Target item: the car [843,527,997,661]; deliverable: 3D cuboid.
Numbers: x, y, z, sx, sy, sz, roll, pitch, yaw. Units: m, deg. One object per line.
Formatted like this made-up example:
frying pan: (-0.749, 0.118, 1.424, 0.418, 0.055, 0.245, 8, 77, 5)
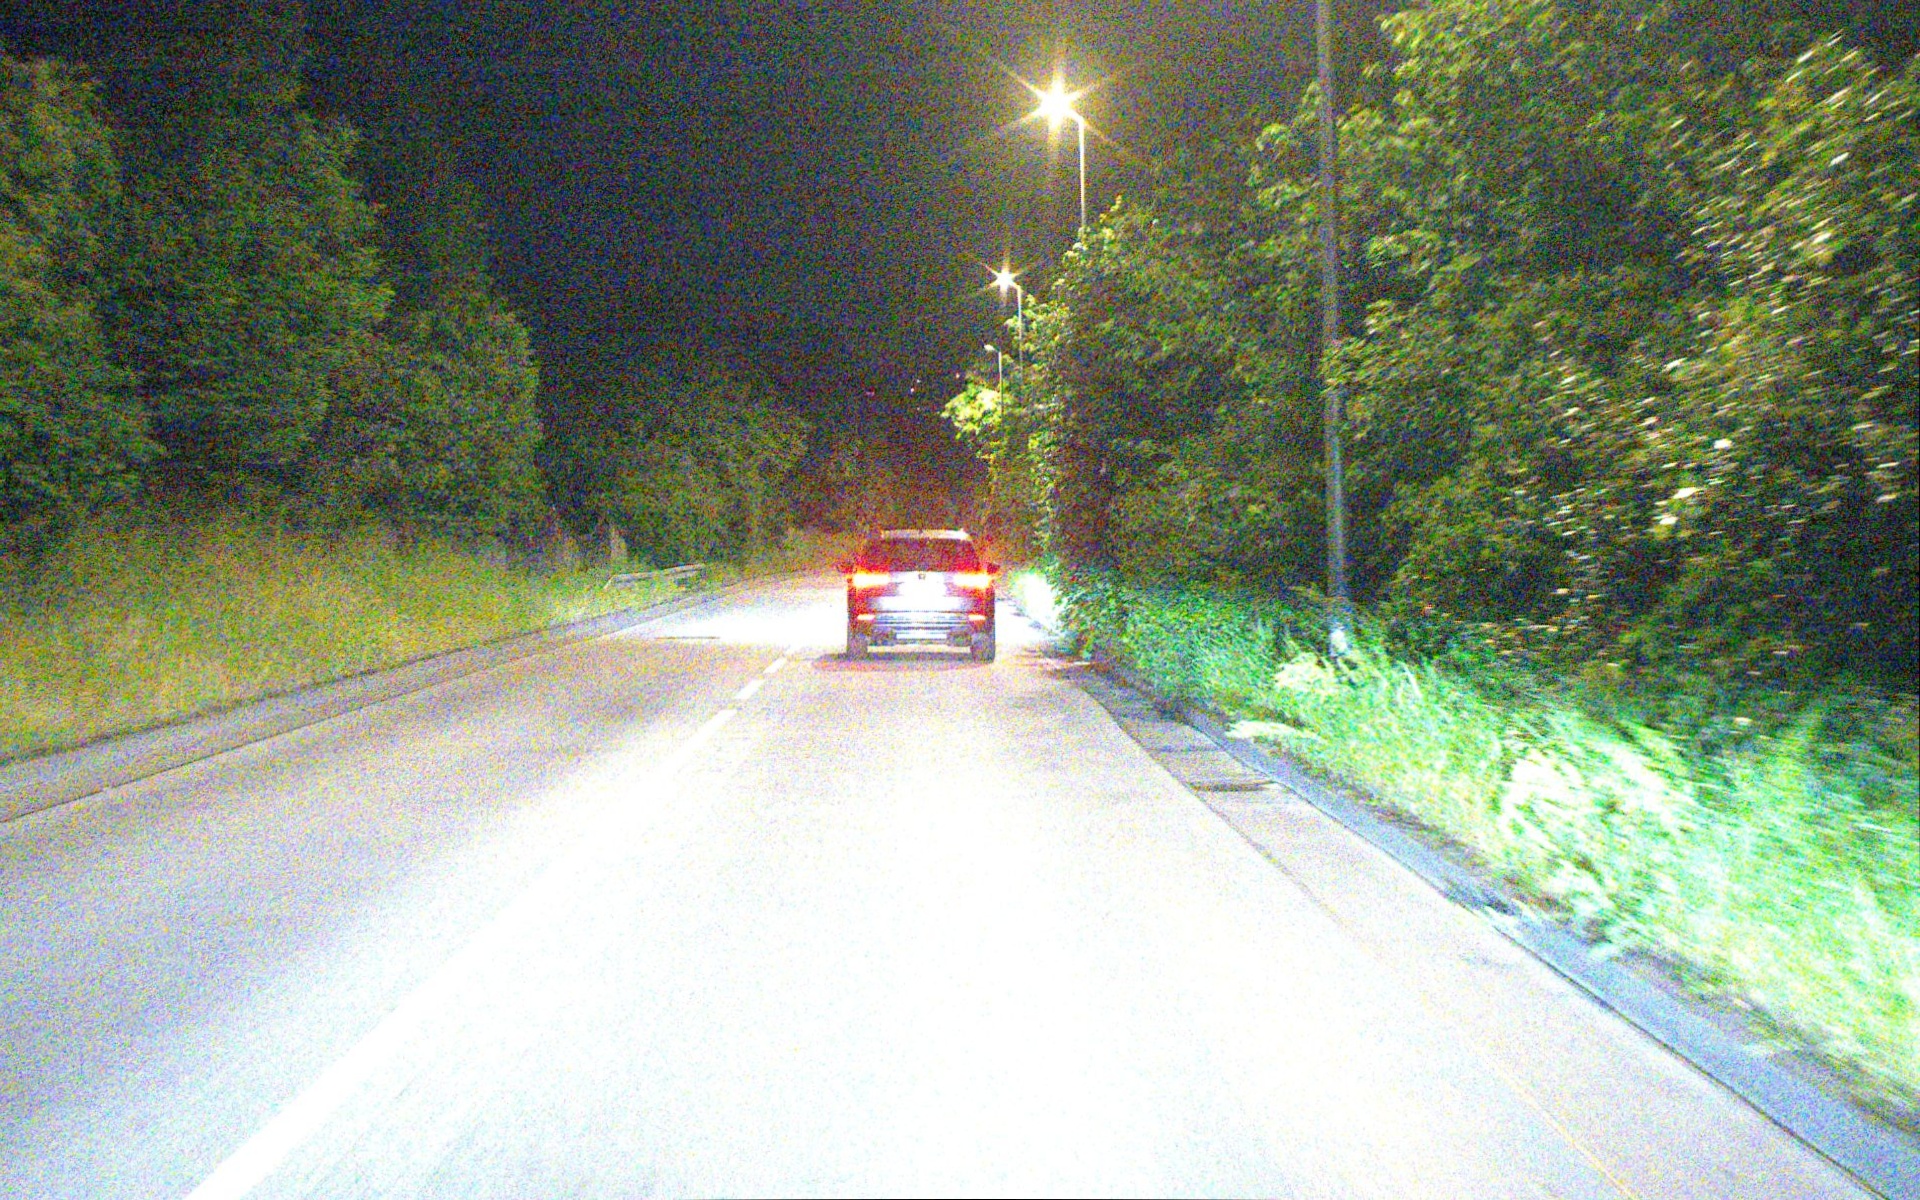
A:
car: (-0.493, -0.111, 42.647, 1.815, 1.568, 3.944, 0, 1, -1)
